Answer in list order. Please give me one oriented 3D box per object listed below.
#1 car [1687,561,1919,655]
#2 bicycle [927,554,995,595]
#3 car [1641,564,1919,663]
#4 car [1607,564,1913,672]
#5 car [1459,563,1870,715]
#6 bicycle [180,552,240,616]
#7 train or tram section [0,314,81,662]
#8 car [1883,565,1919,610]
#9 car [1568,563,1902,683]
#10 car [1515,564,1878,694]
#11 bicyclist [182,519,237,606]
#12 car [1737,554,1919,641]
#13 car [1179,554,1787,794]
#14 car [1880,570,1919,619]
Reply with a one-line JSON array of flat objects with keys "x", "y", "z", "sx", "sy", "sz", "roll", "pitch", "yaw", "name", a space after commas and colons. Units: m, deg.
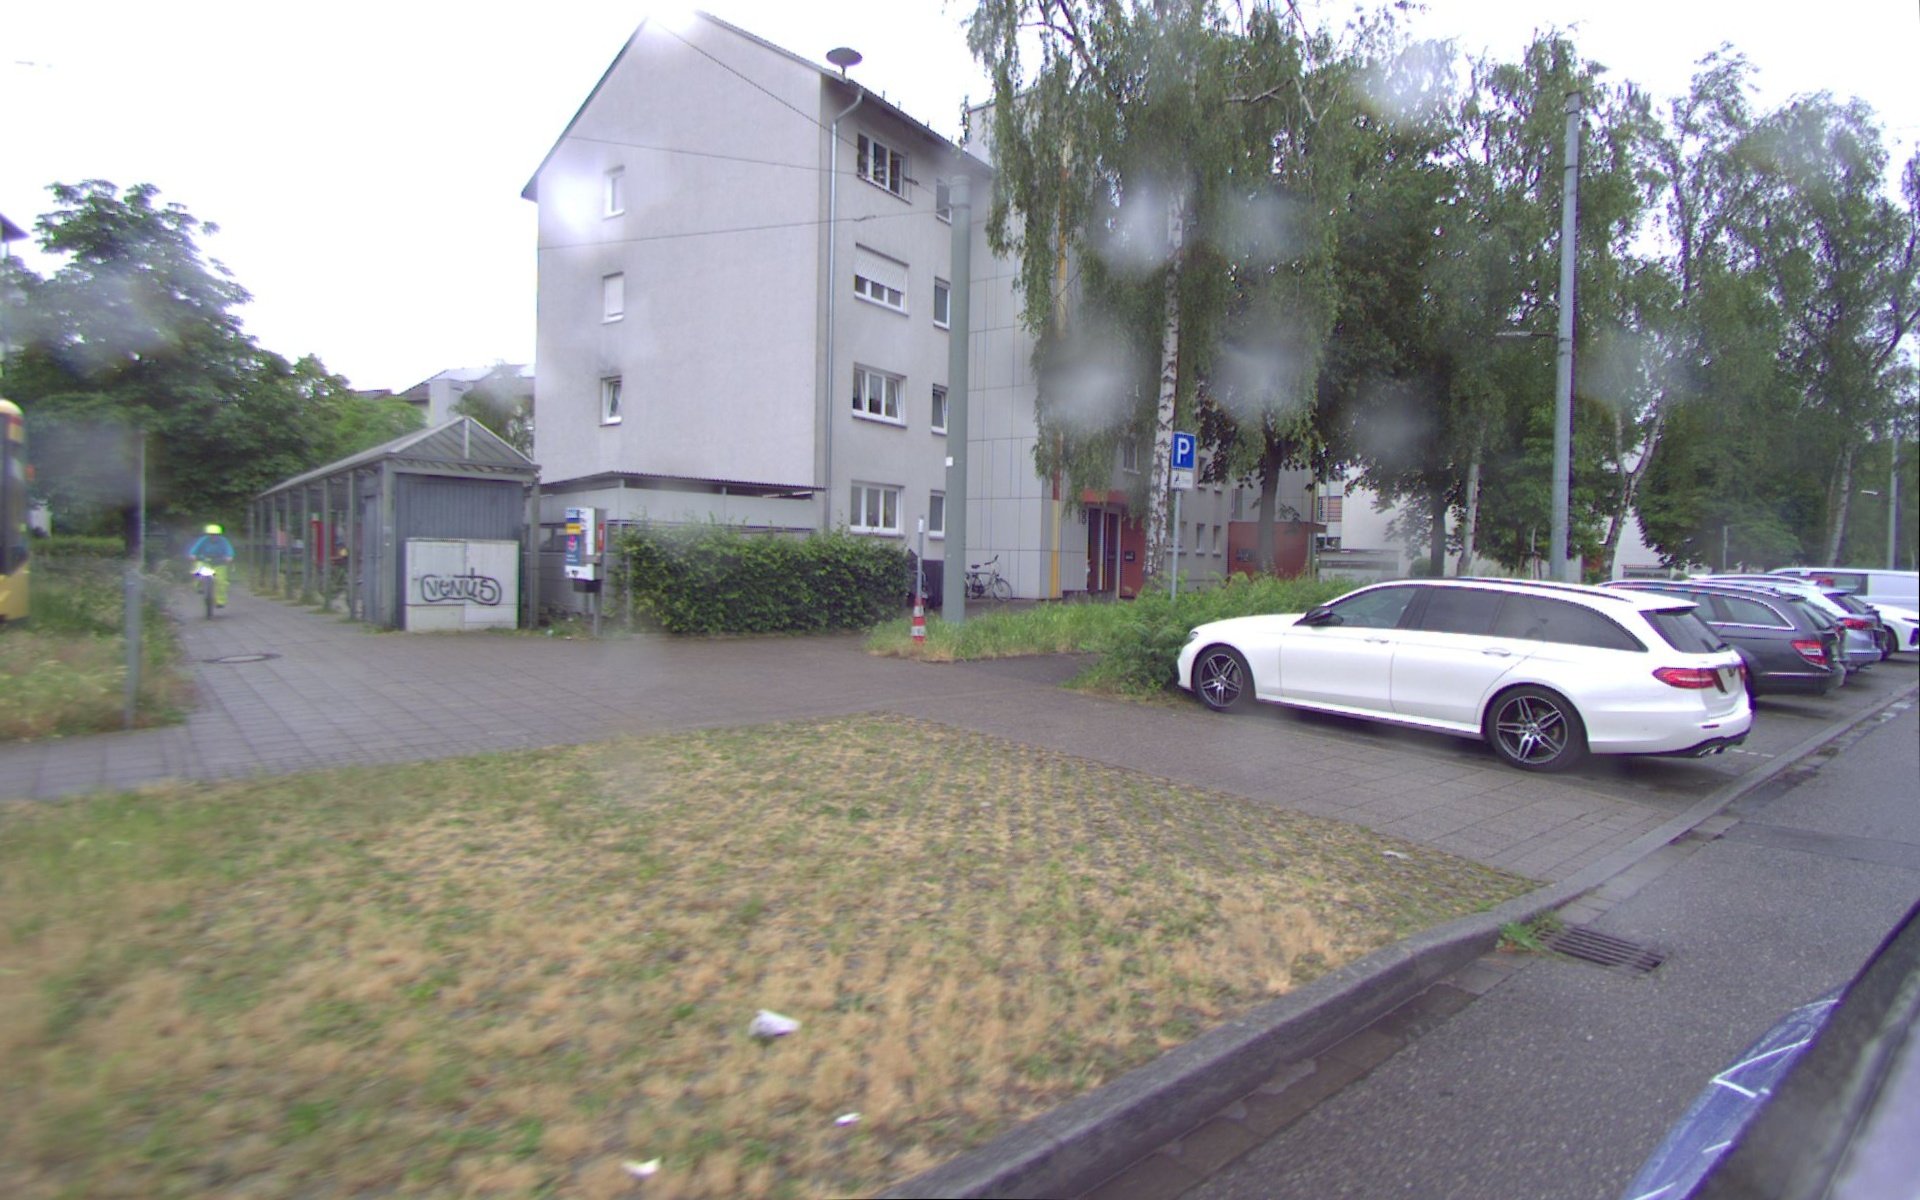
[{"x": 18.280, "y": 0.098, "z": 21.567, "sx": 1.650, "sy": 1.637, "sz": 4.182, "roll": -1, "pitch": 5, "yaw": -39, "name": "car"}, {"x": 0.037, "y": -0.646, "z": 25.704, "sx": 0.701, "sy": 1.005, "sz": 1.918, "roll": 0, "pitch": 1, "yaw": 38, "name": "bicycle"}, {"x": 15.925, "y": 0.166, "z": 19.755, "sx": 1.652, "sy": 1.514, "sz": 4.045, "roll": -1, "pitch": 5, "yaw": -43, "name": "car"}, {"x": 14.247, "y": 0.210, "z": 18.198, "sx": 1.652, "sy": 1.514, "sz": 4.045, "roll": -1, "pitch": 5, "yaw": -43, "name": "car"}, {"x": 8.929, "y": 0.352, "z": 13.103, "sx": 1.652, "sy": 1.456, "sz": 4.045, "roll": -1, "pitch": 5, "yaw": -43, "name": "car"}, {"x": -13.353, "y": -0.315, "z": 18.001, "sx": 0.590, "sy": 1.080, "sz": 2.027, "roll": -1, "pitch": 2, "yaw": -44, "name": "bicycle"}, {"x": -15.324, "y": -1.397, "z": 14.276, "sx": 13.081, "sy": 3.596, "sz": 2.729, "roll": 3, "pitch": 3, "yaw": 41, "name": "train or tram section"}, {"x": 42.555, "y": -0.566, "z": 43.490, "sx": 1.866, "sy": 1.937, "sz": 3.999, "roll": -1, "pitch": 1, "yaw": -36, "name": "car"}, {"x": 12.525, "y": 0.256, "z": 16.561, "sx": 1.652, "sy": 1.514, "sz": 4.045, "roll": -1, "pitch": 5, "yaw": -43, "name": "car"}, {"x": 10.754, "y": 0.301, "z": 15.009, "sx": 1.652, "sy": 1.456, "sz": 4.045, "roll": -1, "pitch": 5, "yaw": -43, "name": "car"}, {"x": -13.331, "y": -0.644, "z": 17.961, "sx": 0.627, "sy": 1.492, "sz": 1.105, "roll": -1, "pitch": 1, "yaw": -45, "name": "bicyclist"}, {"x": 22.050, "y": -0.103, "z": 25.094, "sx": 4.173, "sy": 1.888, "sz": 1.654, "roll": 6, "pitch": 5, "yaw": 44, "name": "car"}, {"x": 4.420, "y": 0.421, "z": 9.284, "sx": 1.651, "sy": 1.456, "sz": 4.623, "roll": -1, "pitch": 5, "yaw": -40, "name": "car"}, {"x": 39.254, "y": -0.241, "z": 39.990, "sx": 1.866, "sy": 1.937, "sz": 3.999, "roll": -1, "pitch": 1, "yaw": -36, "name": "car"}]
